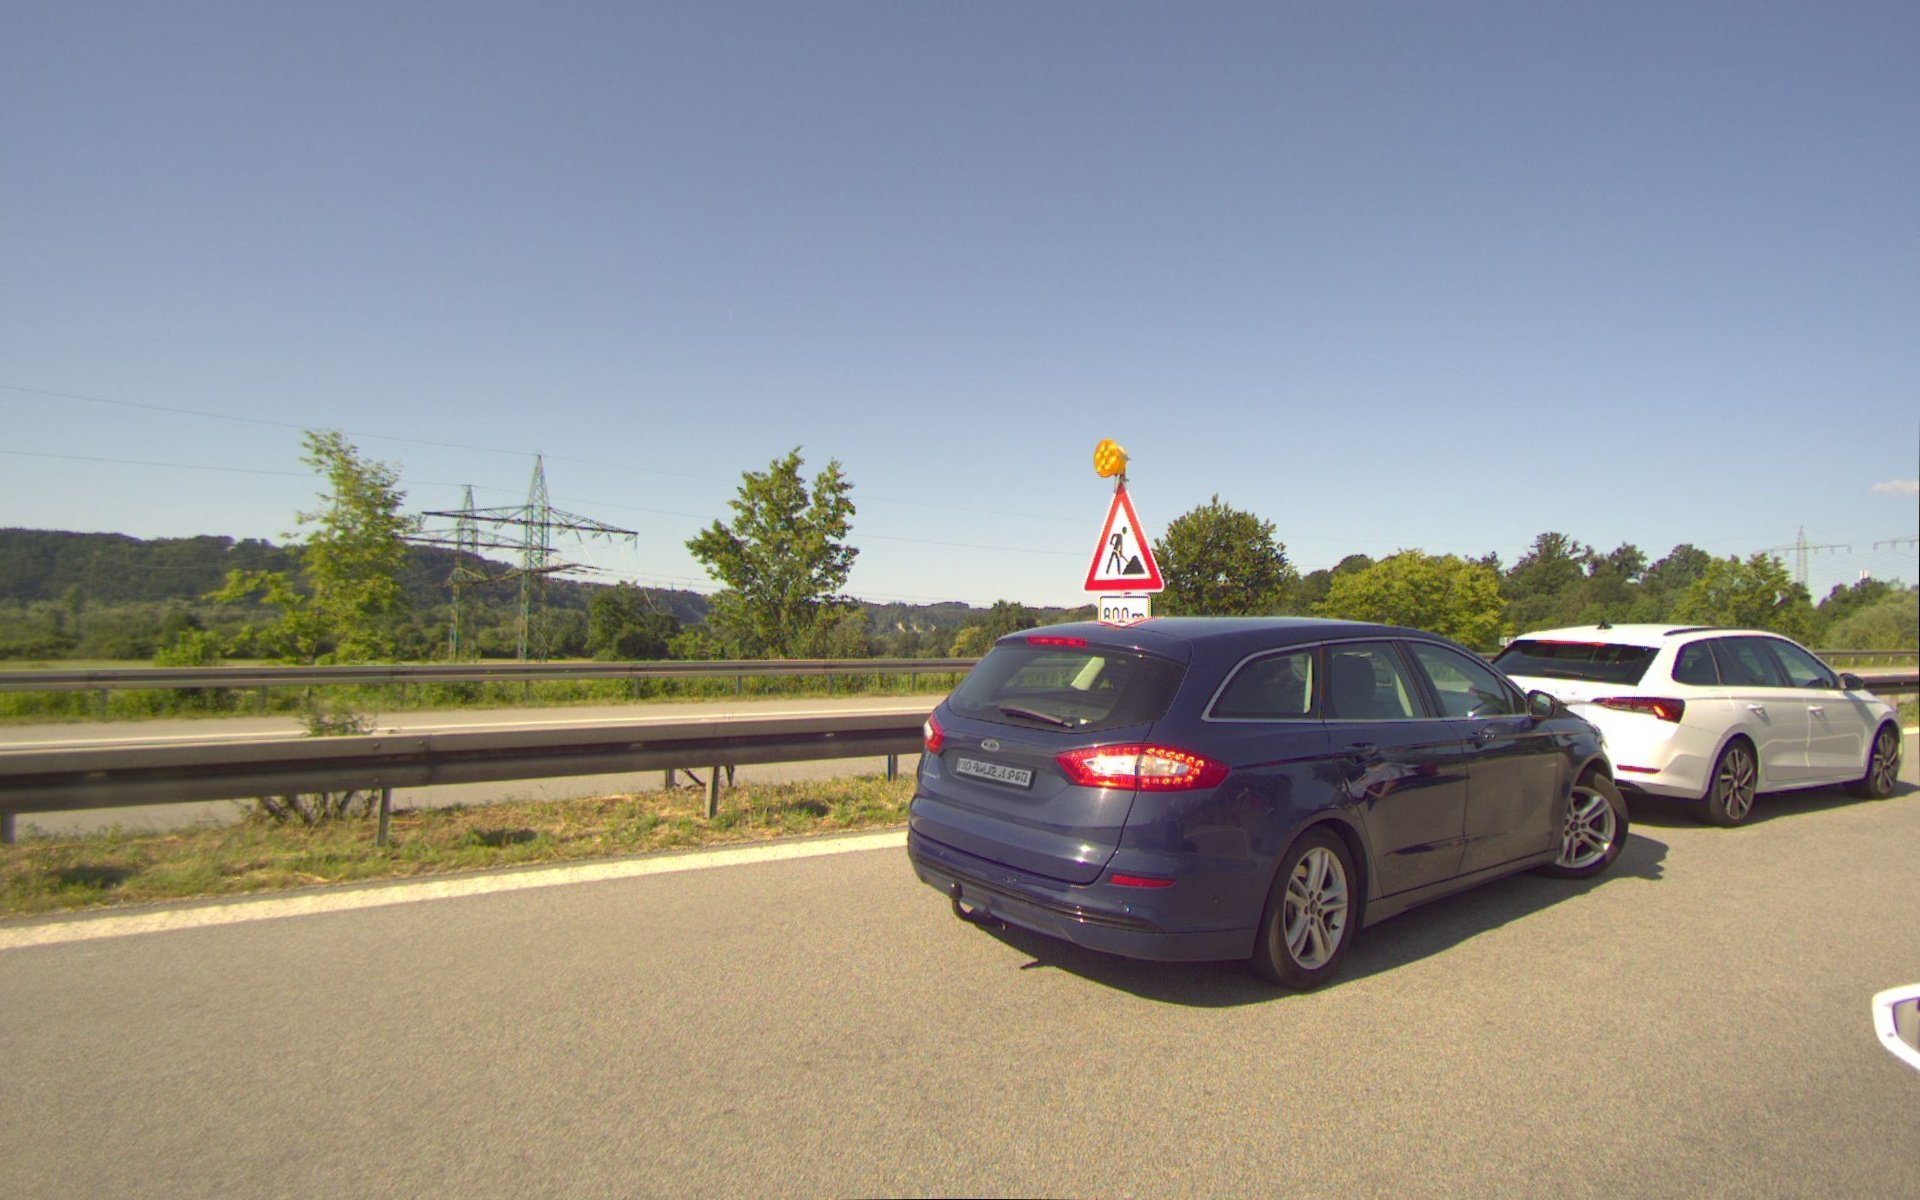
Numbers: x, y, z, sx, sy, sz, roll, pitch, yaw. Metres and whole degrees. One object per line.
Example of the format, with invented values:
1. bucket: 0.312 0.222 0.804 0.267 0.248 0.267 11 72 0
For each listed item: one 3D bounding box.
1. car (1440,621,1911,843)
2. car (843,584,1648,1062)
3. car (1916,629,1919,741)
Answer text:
1. car: 6.154 0.940 8.537 4.160 1.461 1.687 1 0 -30
2. car: 1.758 0.769 5.265 4.452 1.513 1.775 2 -2 -38
3. car: 14.589 1.136 13.272 4.282 1.445 1.687 1 0 -30
